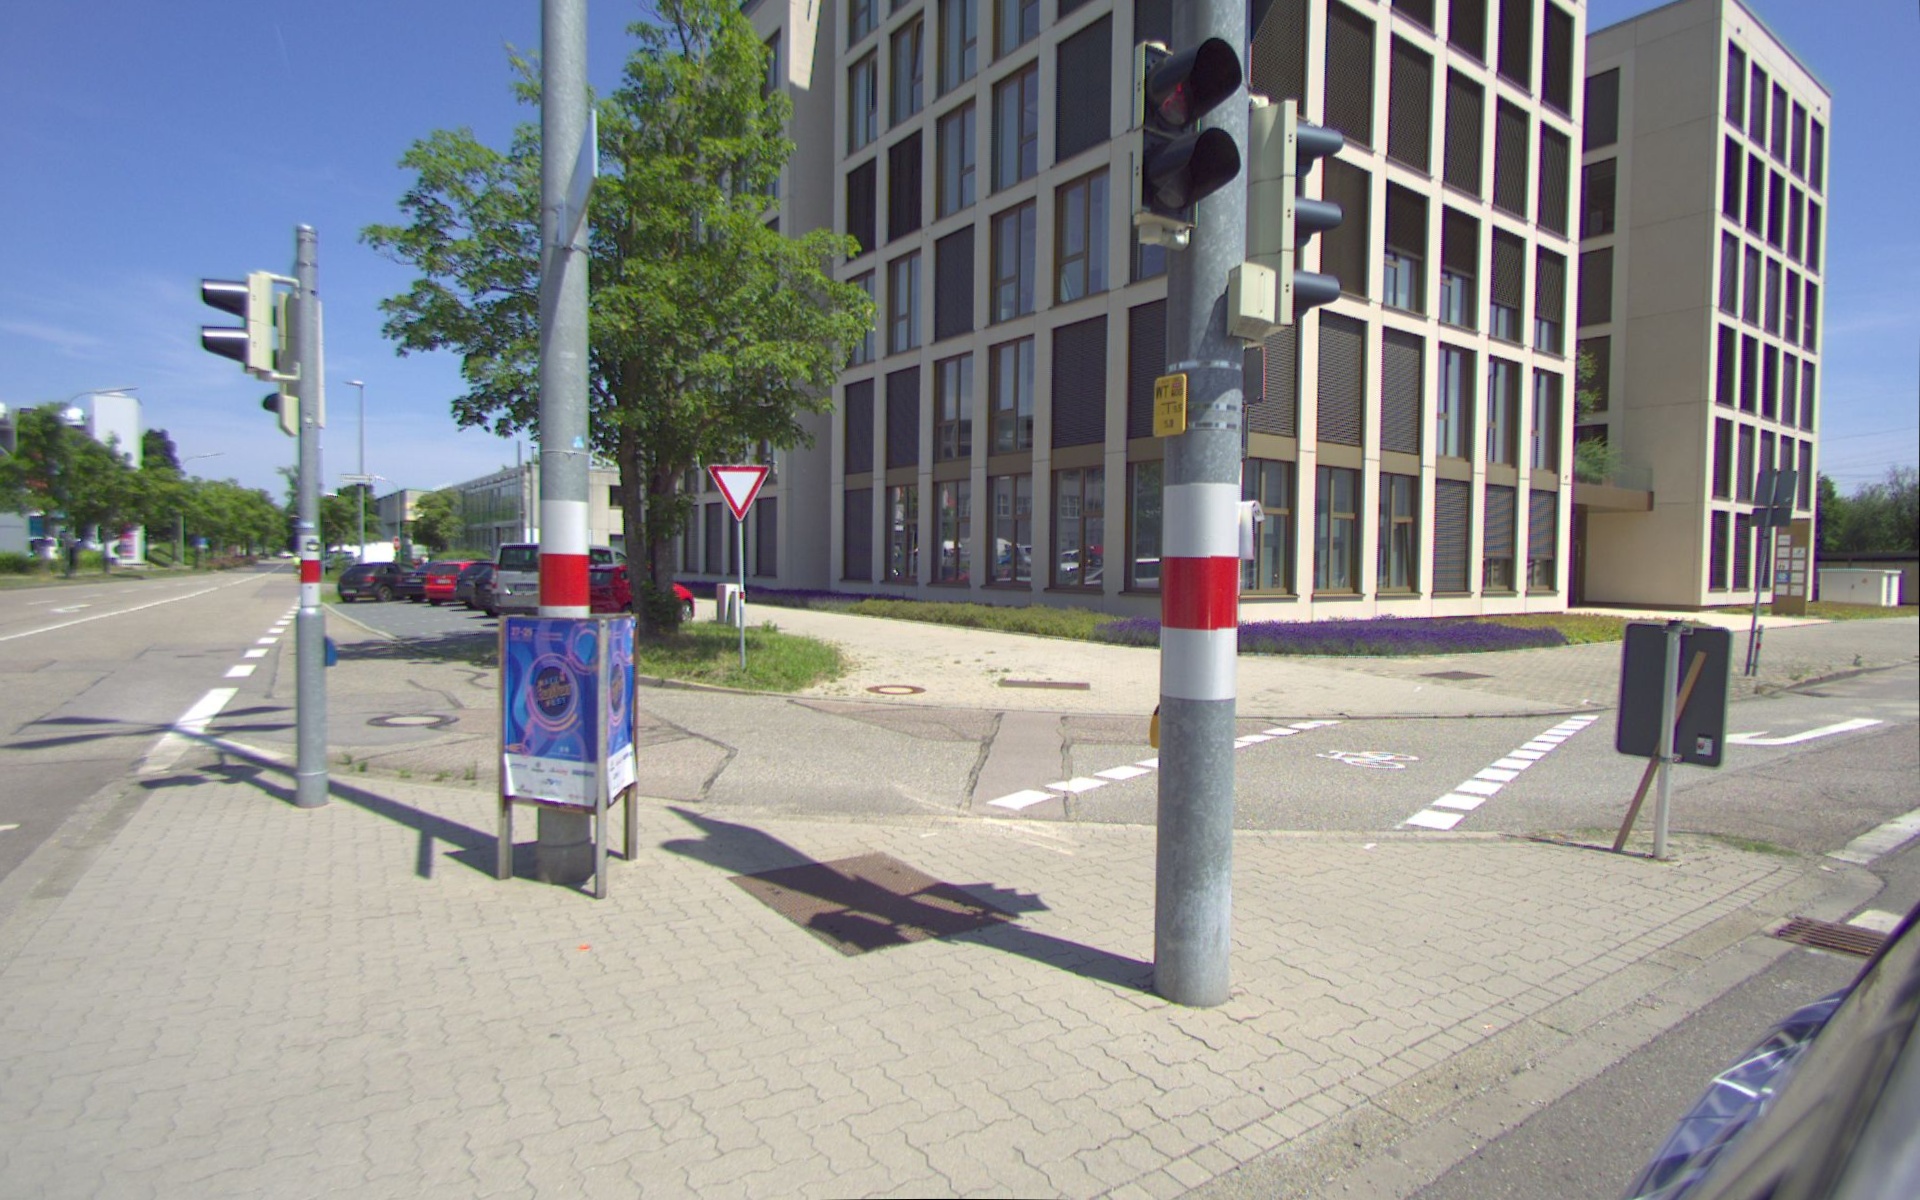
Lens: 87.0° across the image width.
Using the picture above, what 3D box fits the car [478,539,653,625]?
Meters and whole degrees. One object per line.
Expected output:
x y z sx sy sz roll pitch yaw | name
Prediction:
-9.705 -0.476 25.373 1.888 1.910 4.921 1 1 9 | car

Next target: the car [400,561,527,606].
-16.411 -0.591 33.686 1.888 1.370 3.991 1 2 9 | car

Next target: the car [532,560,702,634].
-7.420 -0.143 22.313 1.675 1.449 3.985 0 3 14 | car

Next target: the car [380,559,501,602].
-18.293 -0.726 35.881 1.844 1.392 3.991 1 2 9 | car

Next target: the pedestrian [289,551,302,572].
-53.373 -3.109 81.245 0.857 1.697 0.758 0 2 -32 | pedestrian

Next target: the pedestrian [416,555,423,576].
-40.820 -2.601 76.383 0.397 1.578 0.549 0 2 -35 | pedestrian

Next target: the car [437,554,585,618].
-12.185 -0.437 27.773 1.888 1.609 3.991 1 2 9 | car

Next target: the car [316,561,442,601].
-20.949 -0.740 36.671 1.888 1.349 3.991 1 2 9 | car

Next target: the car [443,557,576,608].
-13.722 -0.583 31.109 1.888 1.457 3.991 1 2 9 | car

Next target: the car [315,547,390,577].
-43.645 -2.690 72.767 4.491 2.039 2.000 -1 1 -36 | car

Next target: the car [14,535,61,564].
-67.344 -3.701 73.948 1.882 2.038 4.003 0 2 -33 | car

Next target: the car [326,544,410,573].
-54.326 -3.788 92.983 6.567 2.552 2.219 -1 1 -34 | car
